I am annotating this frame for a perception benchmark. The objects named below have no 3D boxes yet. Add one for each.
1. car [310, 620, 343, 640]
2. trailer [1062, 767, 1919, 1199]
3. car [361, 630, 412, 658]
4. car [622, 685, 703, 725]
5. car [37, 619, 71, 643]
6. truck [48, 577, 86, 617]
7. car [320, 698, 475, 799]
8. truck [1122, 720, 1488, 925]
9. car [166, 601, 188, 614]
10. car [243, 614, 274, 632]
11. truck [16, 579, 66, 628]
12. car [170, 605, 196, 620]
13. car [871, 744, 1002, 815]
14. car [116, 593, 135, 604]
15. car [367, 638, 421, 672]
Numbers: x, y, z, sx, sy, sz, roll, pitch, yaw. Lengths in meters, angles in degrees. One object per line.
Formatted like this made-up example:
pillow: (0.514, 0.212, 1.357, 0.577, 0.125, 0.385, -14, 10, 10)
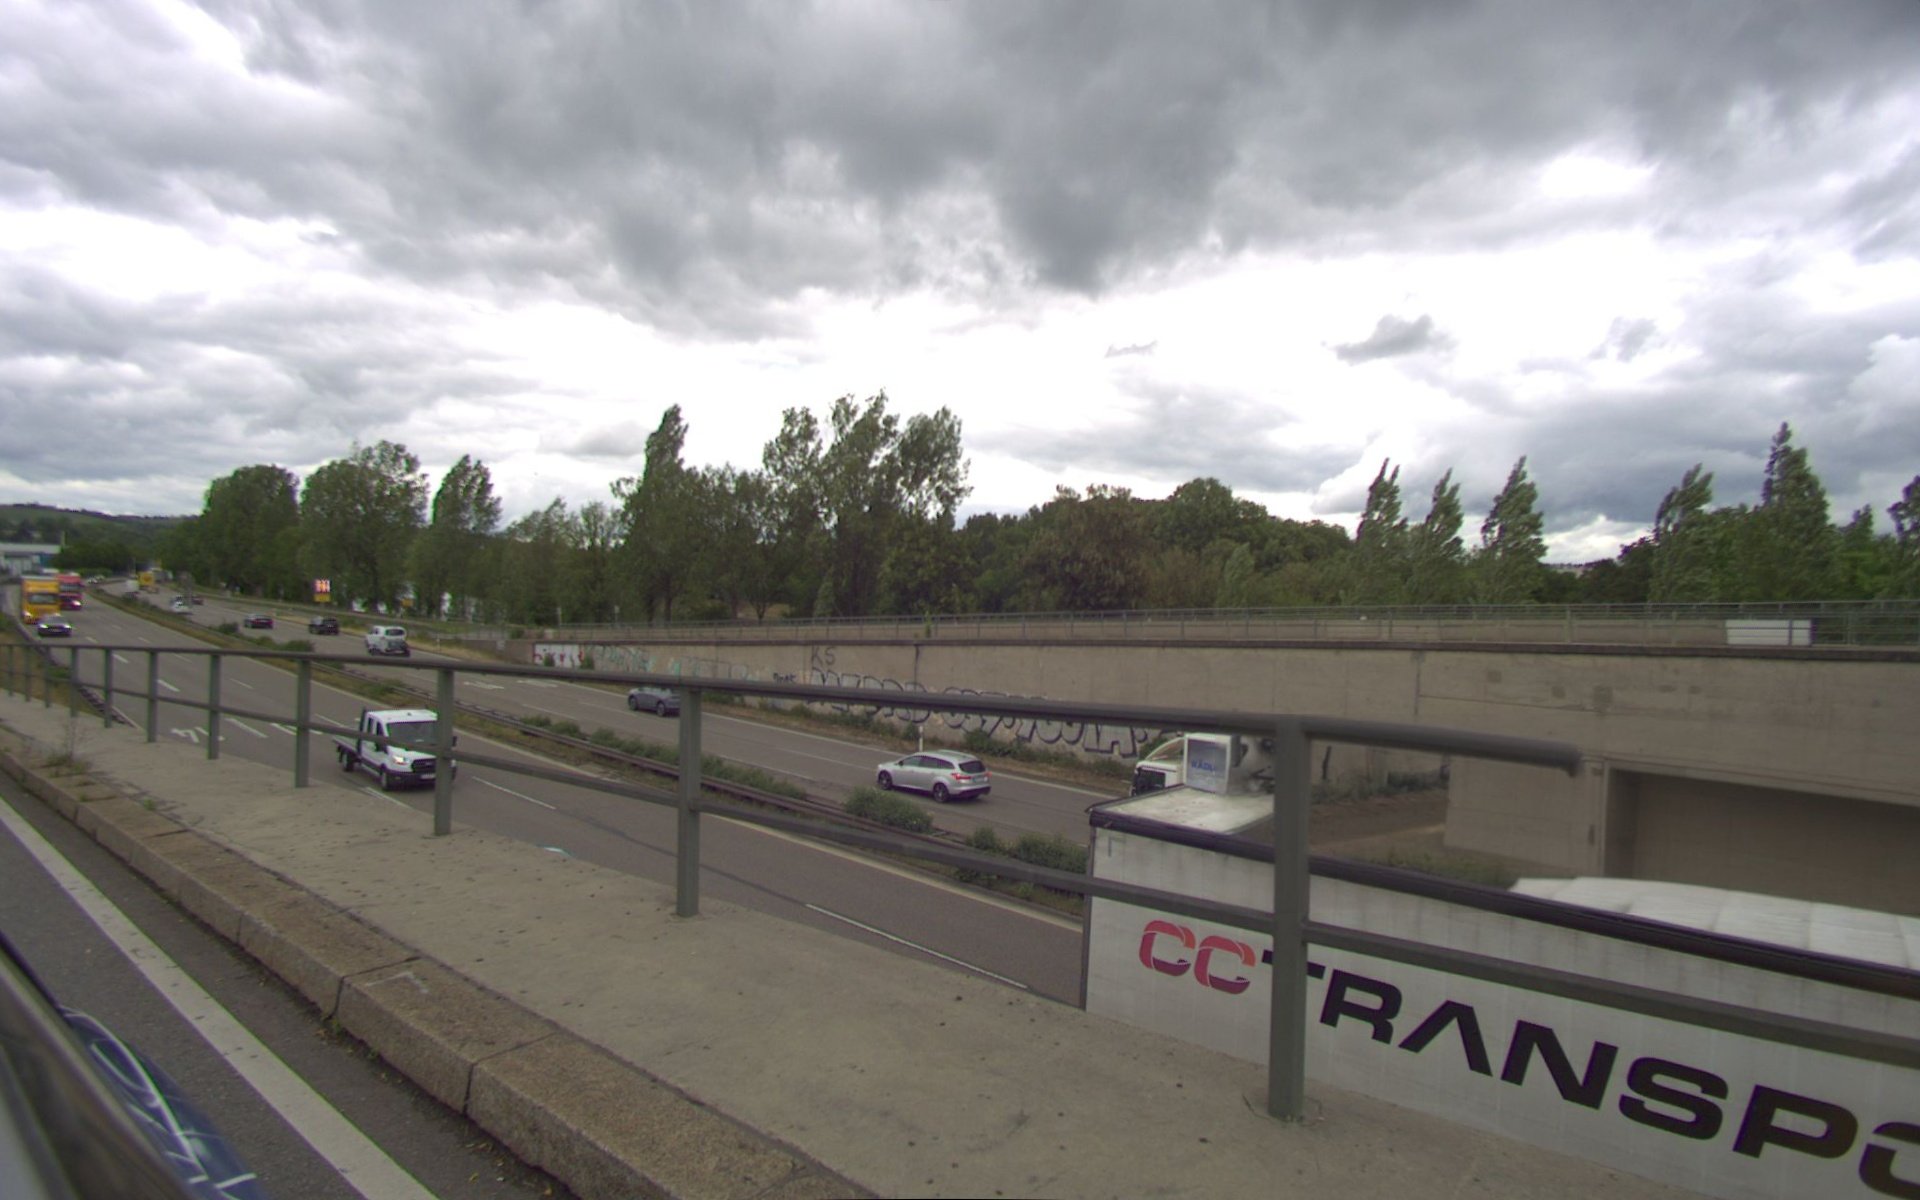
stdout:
car: (-60.683, 2.880, 96.900, 1.970, 1.782, 3.486, 3, -2, -44)
trailer: (7.585, 4.981, 9.515, 14.122, 5.028, 2.941, -1, 0, 42)
car: (-47.366, 3.616, 83.572, 2.560, 2.029, 4.645, 2, -1, -44)
car: (-15.337, 5.352, 52.006, 4.328, 1.630, 1.972, 1, -1, 42)
car: (-72.247, 2.476, 80.701, 1.852, 1.710, 3.843, 2, -1, -44)
truck: (-107.124, -0.476, 121.277, 2.847, 4.389, 13.270, 2, 1, -44)
car: (-18.452, 4.704, 33.033, 6.554, 2.248, 2.321, 3, 0, 42)
truck: (8.770, 5.406, 26.460, 8.239, 3.482, 3.545, 2, -1, 42)
car: (-108.476, 1.049, 140.114, 1.970, 1.730, 3.643, 3, -2, -44)
car: (-70.202, 2.290, 101.265, 1.970, 1.730, 3.643, 3, -2, -44)
truck: (-87.398, 0.263, 96.159, 10.030, 4.215, 2.860, 2, -1, 45)
car: (-92.593, 1.454, 120.597, 1.970, 1.730, 3.643, 3, -2, -44)
car: (-0.861, 6.021, 34.379, 1.971, 1.630, 4.332, 3, -1, -45)
car: (-134.840, -0.232, 163.422, 3.642, 1.730, 1.971, 0, -2, 45)
car: (-40.761, 3.918, 72.867, 2.192, 2.028, 4.645, 2, 2, -45)
